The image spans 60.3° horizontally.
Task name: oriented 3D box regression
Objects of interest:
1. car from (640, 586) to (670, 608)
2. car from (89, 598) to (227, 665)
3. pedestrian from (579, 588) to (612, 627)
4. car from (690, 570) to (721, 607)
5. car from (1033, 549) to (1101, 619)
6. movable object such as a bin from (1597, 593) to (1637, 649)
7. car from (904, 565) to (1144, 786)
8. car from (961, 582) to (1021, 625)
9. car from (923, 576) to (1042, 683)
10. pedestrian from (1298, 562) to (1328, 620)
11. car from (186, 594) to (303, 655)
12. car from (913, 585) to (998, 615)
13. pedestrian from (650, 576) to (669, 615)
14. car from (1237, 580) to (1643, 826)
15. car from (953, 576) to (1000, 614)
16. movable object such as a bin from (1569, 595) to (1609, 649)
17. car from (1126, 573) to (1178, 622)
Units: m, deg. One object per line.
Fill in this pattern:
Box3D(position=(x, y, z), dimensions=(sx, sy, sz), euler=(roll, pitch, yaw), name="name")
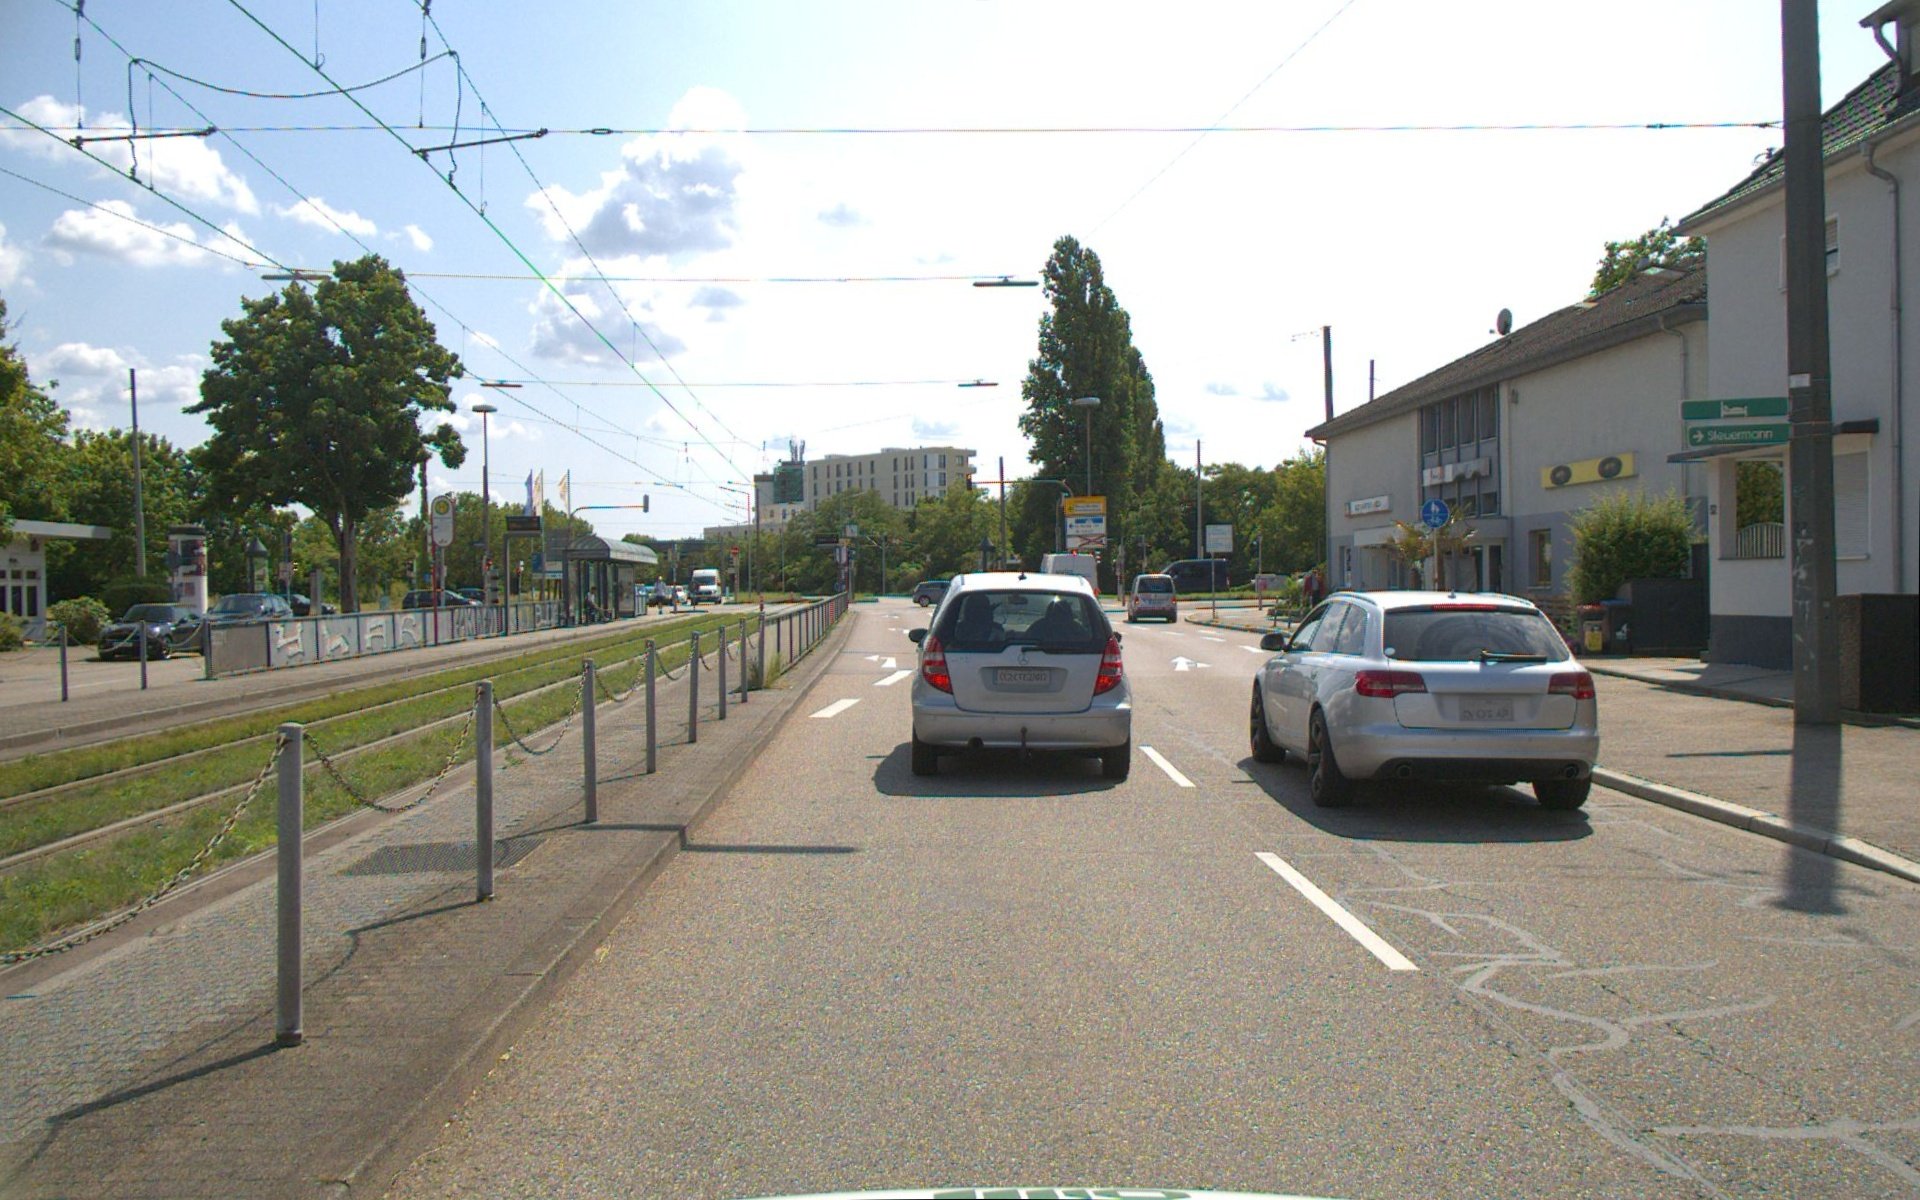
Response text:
Box3D(position=(-22.354, -0.227, 121.308), dimensions=(1.860, 1.568, 3.724), euler=(0, 0, -7), name="car")
Box3D(position=(-21.072, 0.792, 43.623), dimensions=(1.750, 1.611, 3.930), euler=(-1, 1, -1), name="car")
Box3D(position=(-13.231, 0.254, 60.025), dimensions=(1.037, 1.400, 0.860), euler=(0, 0, -3), name="pedestrian")
Box3D(position=(-18.789, -0.865, 122.322), dimensions=(1.955, 2.651, 4.874), euler=(0, 0, -5), name="car")
Box3D(position=(4.128, -0.632, 64.802), dimensions=(2.000, 2.602, 5.228), euler=(-1, 1, -3), name="car")
Box3D(position=(11.525, 0.358, 29.024), dimensions=(0.432, 0.951, 0.549), euler=(-2, 1, -8), name="movable object such as a bin")
Box3D(position=(0.551, 0.529, 14.294), dimensions=(1.750, 1.604, 4.096), euler=(1, 1, 2), name="car")
Box3D(position=(1.052, 0.091, 57.890), dimensions=(1.832, 1.444, 4.097), euler=(0, 1, -3), name="car")
Box3D(position=(0.342, 0.391, 26.102), dimensions=(1.703, 1.518, 4.630), euler=(0, 1, 0), name="car")
Box3D(position=(11.326, -0.281, 53.073), dimensions=(0.707, 1.813, 0.703), euler=(-4, 1, -1), name="pedestrian")
Box3D(position=(-21.476, 0.700, 49.841), dimensions=(2.022, 1.642, 4.744), euler=(-2, 1, -8), name="car")
Box3D(position=(-0.252, 0.005, 93.472), dimensions=(4.763, 1.689, 2.000), euler=(0, 0, 0), name="car")
Box3D(position=(-14.038, -0.221, 77.354), dimensions=(0.794, 1.826, 0.706), euler=(-1, 1, -14), name="pedestrian")
Box3D(position=(3.380, 0.620, 12.612), dimensions=(1.816, 1.518, 4.536), euler=(0, 1, 0), name="car")
Box3D(position=(0.646, -0.240, 69.590), dimensions=(1.710, 1.525, 4.377), euler=(0, 1, -3), name="car")
Box3D(position=(11.032, 0.378, 28.999), dimensions=(0.436, 0.910, 0.545), euler=(-2, 1, -8), name="movable object such as a bin")
Box3D(position=(7.344, -0.109, 63.607), dimensions=(1.845, 1.761, 4.097), euler=(-2, 0, 6), name="car")
